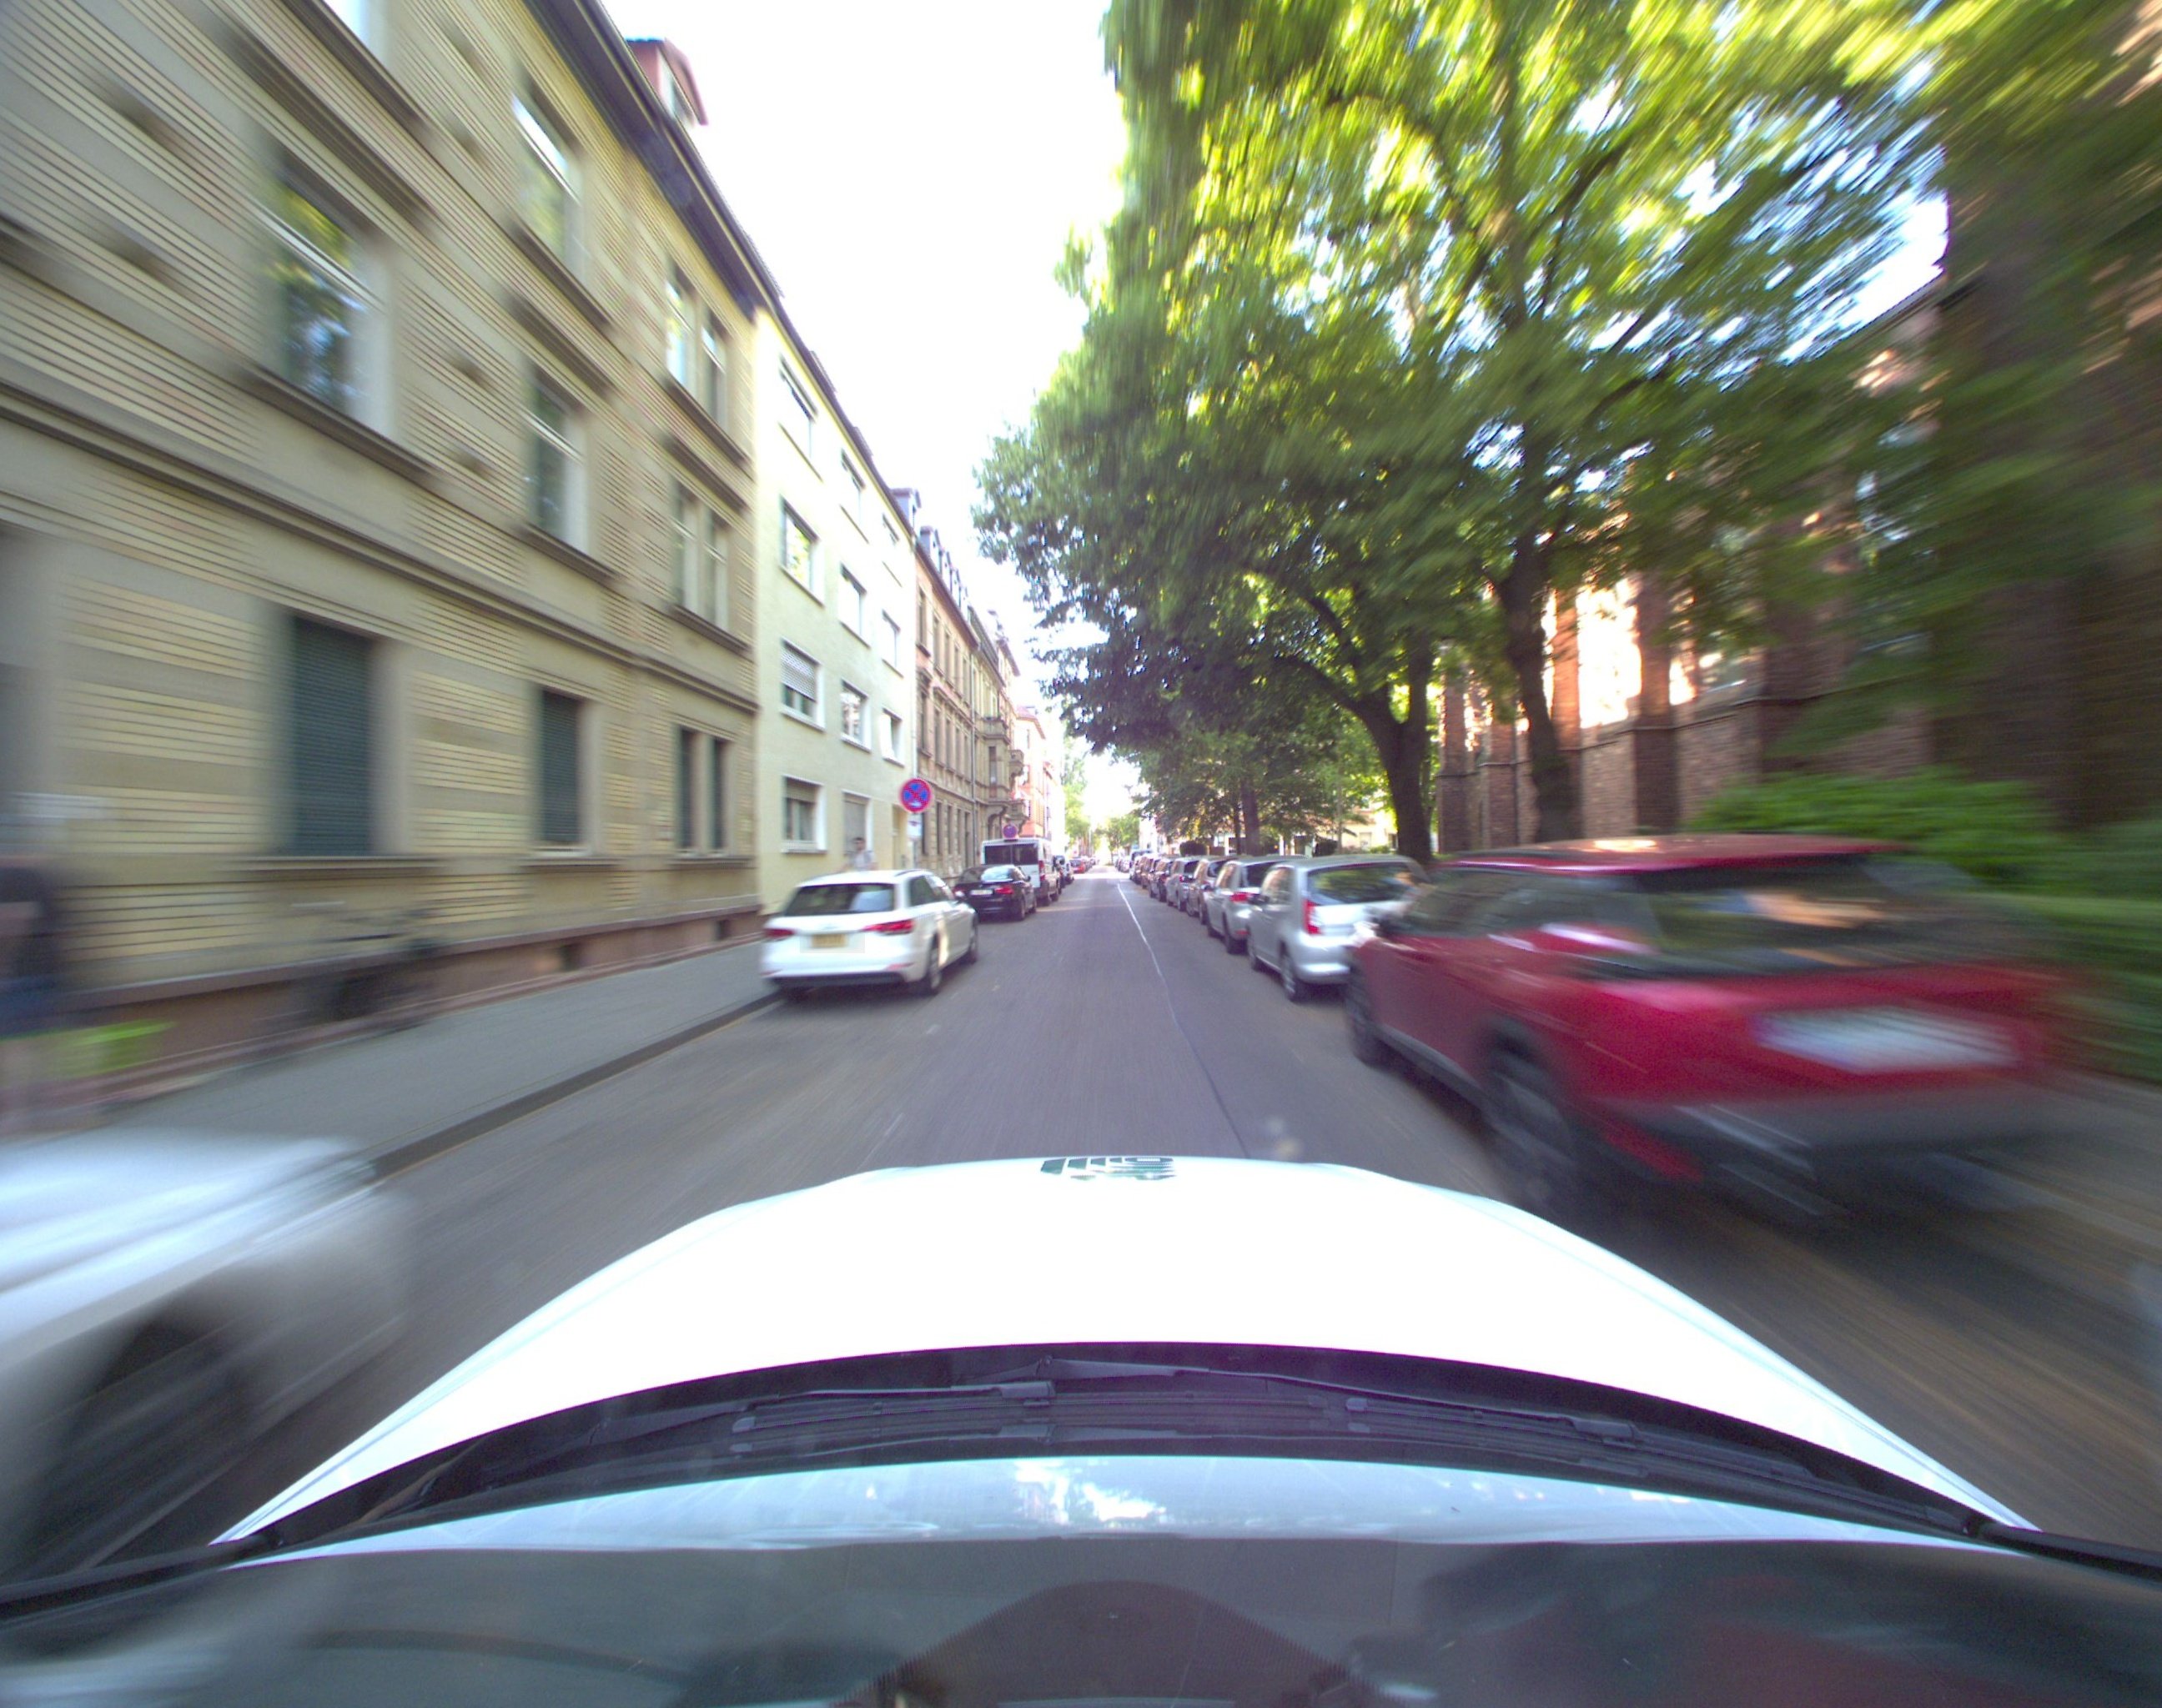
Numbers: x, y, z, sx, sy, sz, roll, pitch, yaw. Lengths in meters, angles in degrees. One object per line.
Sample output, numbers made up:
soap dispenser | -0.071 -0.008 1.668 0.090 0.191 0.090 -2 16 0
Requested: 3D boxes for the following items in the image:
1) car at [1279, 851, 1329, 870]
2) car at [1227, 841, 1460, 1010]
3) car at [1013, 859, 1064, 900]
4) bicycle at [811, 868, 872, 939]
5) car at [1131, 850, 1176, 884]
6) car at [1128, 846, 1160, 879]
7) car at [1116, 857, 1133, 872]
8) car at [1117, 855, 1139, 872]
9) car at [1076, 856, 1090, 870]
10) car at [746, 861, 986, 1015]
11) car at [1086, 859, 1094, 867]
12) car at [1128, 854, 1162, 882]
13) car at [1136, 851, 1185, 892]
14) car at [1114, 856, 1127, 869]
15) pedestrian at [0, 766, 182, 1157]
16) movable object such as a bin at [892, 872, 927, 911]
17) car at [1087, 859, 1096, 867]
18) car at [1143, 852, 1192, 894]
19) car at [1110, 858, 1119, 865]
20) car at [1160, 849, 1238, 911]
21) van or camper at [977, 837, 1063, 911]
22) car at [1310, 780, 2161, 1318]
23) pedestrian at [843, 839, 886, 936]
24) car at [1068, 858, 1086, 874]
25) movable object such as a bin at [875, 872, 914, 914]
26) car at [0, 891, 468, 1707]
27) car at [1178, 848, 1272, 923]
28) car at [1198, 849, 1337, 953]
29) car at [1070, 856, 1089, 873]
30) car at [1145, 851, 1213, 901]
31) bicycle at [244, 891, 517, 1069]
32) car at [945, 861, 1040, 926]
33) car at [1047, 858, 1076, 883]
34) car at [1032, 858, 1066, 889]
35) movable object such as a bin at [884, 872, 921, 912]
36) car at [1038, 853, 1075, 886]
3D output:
car | 18.552 0.543 67.822 3.833 1.473 1.637 -1 -3 8
car | 2.902 0.726 9.833 1.593 1.505 3.722 -6 -1 2
car | -1.696 1.003 34.020 1.760 1.514 4.193 -3 0 1
bicycle | -4.614 0.920 15.783 0.568 1.244 1.845 2 0 1
car | 3.912 0.750 44.633 1.735 1.603 4.260 -6 -1 -3
car | 4.224 0.566 54.969 1.906 1.998 4.796 -3 0 4
car | 4.926 1.182 92.258 1.670 1.506 3.938 -3 0 1
car | 4.406 0.891 77.176 1.739 1.506 4.355 -3 0 -1
car | 0.324 1.162 112.069 1.759 1.785 4.039 -3 0 1
car | -2.465 0.880 10.579 1.724 1.456 4.523 -3 0 2
car | 1.822 1.774 166.323 1.670 1.487 4.095 -3 0 1
car | 3.870 0.846 49.672 1.713 1.571 3.827 -1 0 0
car | 3.684 0.821 38.155 1.615 1.624 3.860 -6 -1 -3
car | 5.563 1.266 114.300 1.669 1.681 4.097 -3 -1 3
pedestrian | -5.663 0.535 4.392 0.764 1.928 0.763 -1 0 -2
movable object such as a bin | -4.892 1.066 23.302 0.796 1.088 0.667 -1 -2 5
car | 2.181 1.819 171.394 1.670 1.487 4.095 -3 0 1
car | 3.572 0.787 34.178 1.613 1.486 3.777 -6 -1 1
car | 6.812 1.518 167.609 1.670 1.487 3.638 -3 0 1
car | 3.347 0.728 23.686 1.594 1.505 3.626 -6 -1 -1
van or camper | -1.937 0.623 27.720 2.168 2.148 5.158 -3 0 3
car | 2.682 0.662 4.684 1.657 1.586 4.104 -6 -1 3
pedestrian | -4.178 0.630 15.803 0.486 1.803 1.115 1 0 0
car | -0.364 1.124 77.788 1.622 1.481 3.601 -3 0 1
movable object such as a bin | -4.998 1.045 21.829 0.832 1.088 0.676 -1 -2 4
car | -2.827 0.844 0.594 1.702 1.417 3.805 -3 -1 2
car | 3.325 0.709 19.413 1.593 1.468 3.565 -6 -1 2
car | 3.068 0.733 14.137 1.593 1.470 3.871 -4 -1 2
car | -0.134 1.200 92.904 1.736 1.811 4.676 -3 0 3
car | 3.321 0.744 28.378 1.670 1.441 4.694 -6 -1 -1
bicycle | -5.556 0.927 6.642 0.568 1.148 1.845 2 0 1
car | -2.189 0.945 21.350 1.723 1.402 4.318 -3 0 3
car | -1.262 1.060 54.023 1.687 1.481 3.973 -3 0 1
car | -1.684 1.014 43.757 1.688 1.514 3.971 -3 0 -1
movable object such as a bin | -4.935 1.050 22.559 0.796 1.088 0.667 -1 -2 5
car | -1.418 0.884 48.588 1.824 1.811 4.573 -3 0 1
